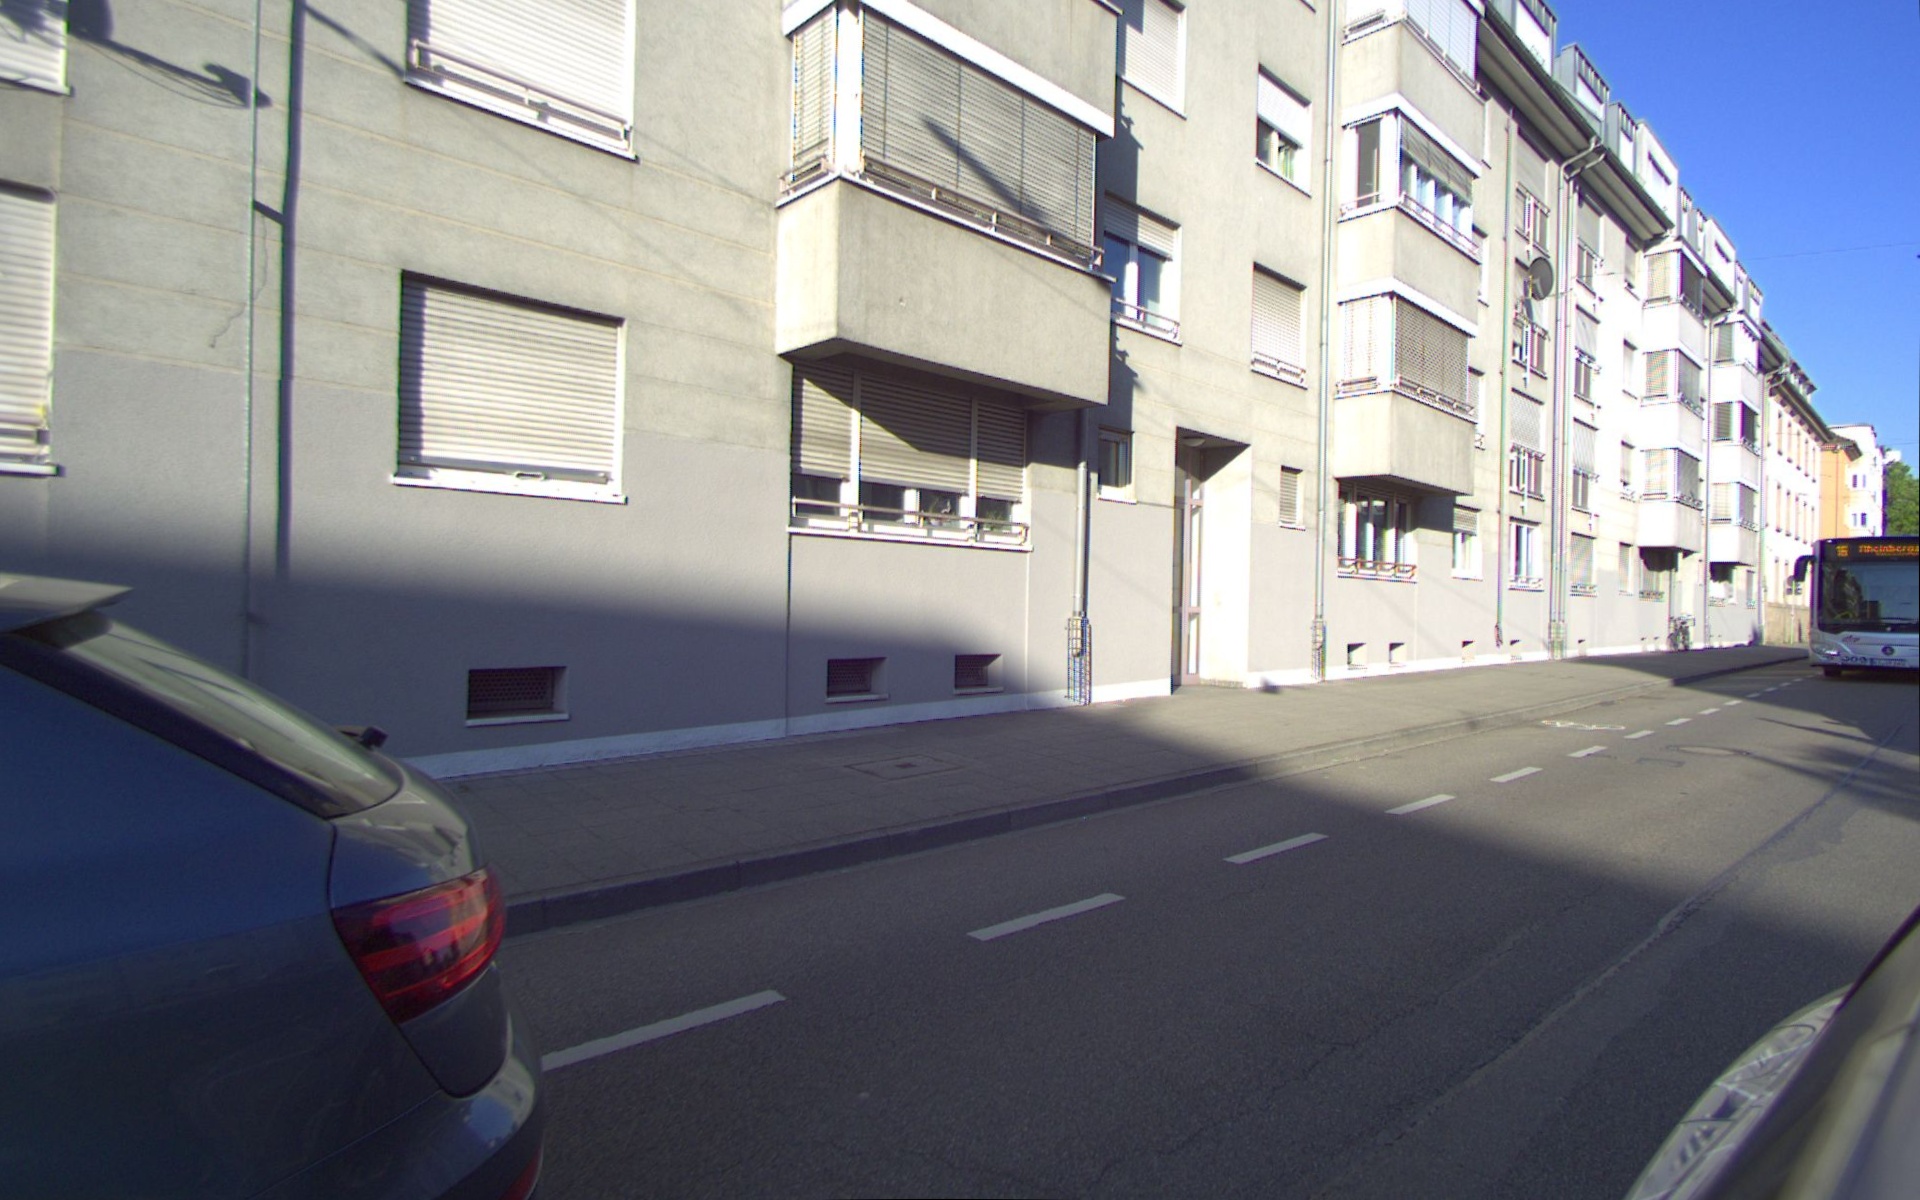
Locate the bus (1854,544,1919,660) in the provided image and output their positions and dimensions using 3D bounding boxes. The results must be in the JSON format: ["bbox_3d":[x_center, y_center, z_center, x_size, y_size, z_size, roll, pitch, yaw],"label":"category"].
[{"bbox_3d":[29.518,0.096,30.960,2.706,3.116,10.429,1,0,44],"label":"bus"}]

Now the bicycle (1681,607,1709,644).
[{"bbox_3d":[22.235,0.761,30.609,1.701,1.044,0.360,1,3,-45],"label":"bicycle"}]

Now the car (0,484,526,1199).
[{"bbox_3d":[-2.677,0.647,0.715,3.997,1.607,1.769,1,0,-41],"label":"car"}]

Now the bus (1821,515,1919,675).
[{"bbox_3d":[22.225,-0.052,23.470,2.725,3.116,10.429,1,0,44],"label":"bus"}]

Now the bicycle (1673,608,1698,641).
[{"bbox_3d":[22.506,0.753,31.390,1.701,0.983,0.279,1,3,-45],"label":"bicycle"}]
